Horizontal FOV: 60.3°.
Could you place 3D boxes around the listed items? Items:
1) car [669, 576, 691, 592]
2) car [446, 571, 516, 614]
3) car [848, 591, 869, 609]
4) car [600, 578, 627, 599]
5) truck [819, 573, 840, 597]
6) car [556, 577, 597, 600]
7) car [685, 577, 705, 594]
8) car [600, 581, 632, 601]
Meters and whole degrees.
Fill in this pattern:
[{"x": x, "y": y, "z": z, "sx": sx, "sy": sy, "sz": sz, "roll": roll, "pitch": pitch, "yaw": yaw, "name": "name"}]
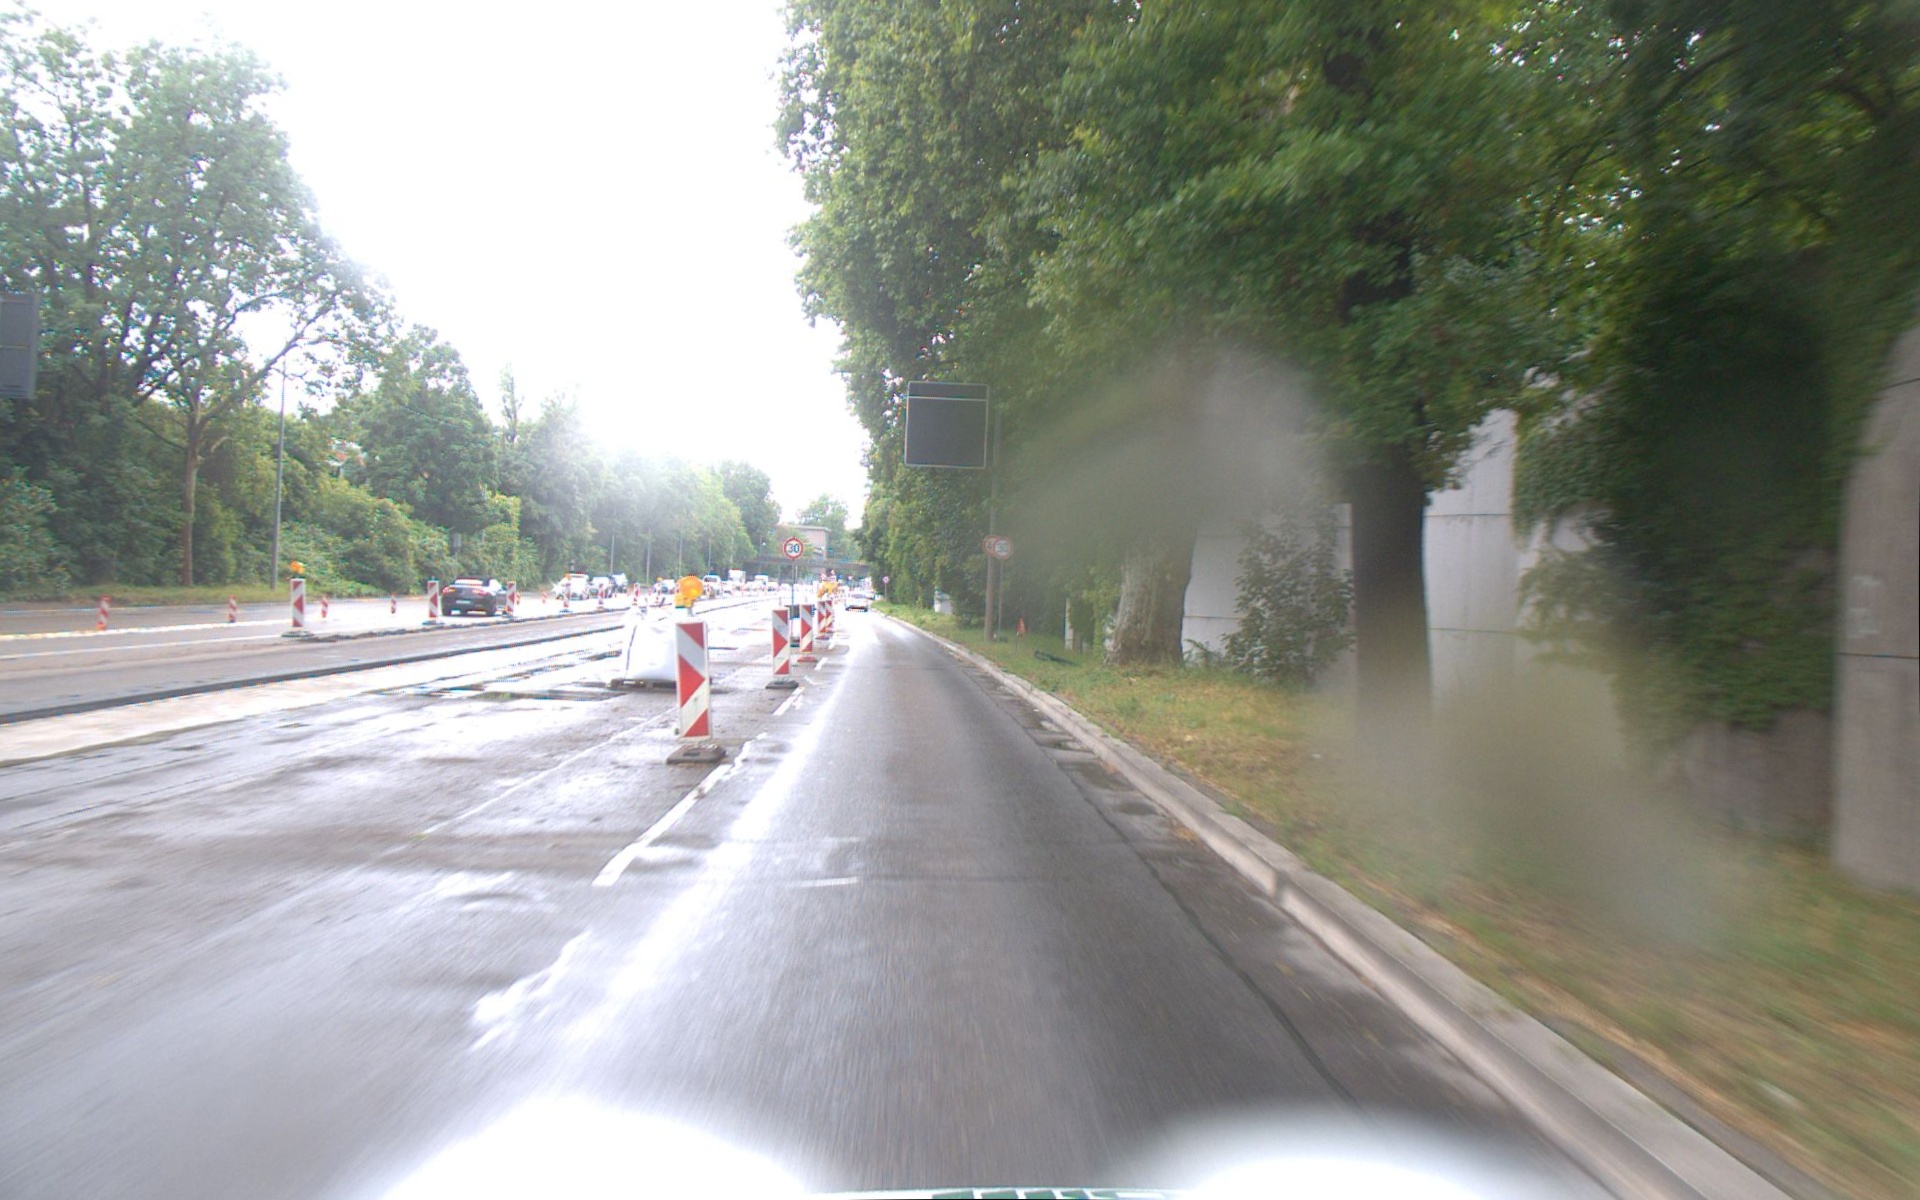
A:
[{"x": -27.601, "y": -1.574, "z": 163.009, "sx": 1.726, "sy": 1.509, "sz": 4.895, "roll": 2, "pitch": 0, "yaw": -5, "name": "car"}, {"x": -17.345, "y": -0.290, "z": 60.081, "sx": 1.576, "sy": 1.429, "sz": 4.037, "roll": 3, "pitch": 0, "yaw": -4, "name": "car"}, {"x": -8.247, "y": -0.011, "z": 134.068, "sx": 1.664, "sy": 1.359, "sz": 3.488, "roll": 0, "pitch": 0, "yaw": -4, "name": "car"}, {"x": -29.892, "y": -1.005, "z": 142.812, "sx": 1.620, "sy": 1.714, "sz": 4.529, "roll": 3, "pitch": 0, "yaw": -4, "name": "car"}, {"x": -20.857, "y": -2.388, "z": 265.195, "sx": 3.195, "sy": 3.558, "sz": 13.858, "roll": 3, "pitch": 0, "yaw": -4, "name": "truck"}, {"x": -23.585, "y": -0.735, "z": 101.951, "sx": 1.782, "sy": 1.379, "sz": 4.386, "roll": 1, "pitch": 0, "yaw": -4, "name": "car"}, {"x": -28.443, "y": -1.585, "z": 177.586, "sx": 1.701, "sy": 1.752, "sz": 4.489, "roll": 3, "pitch": 0, "yaw": -5, "name": "car"}, {"x": -25.027, "y": -0.644, "z": 120.417, "sx": 1.782, "sy": 1.379, "sz": 4.201, "roll": 1, "pitch": 0, "yaw": -4, "name": "car"}]
